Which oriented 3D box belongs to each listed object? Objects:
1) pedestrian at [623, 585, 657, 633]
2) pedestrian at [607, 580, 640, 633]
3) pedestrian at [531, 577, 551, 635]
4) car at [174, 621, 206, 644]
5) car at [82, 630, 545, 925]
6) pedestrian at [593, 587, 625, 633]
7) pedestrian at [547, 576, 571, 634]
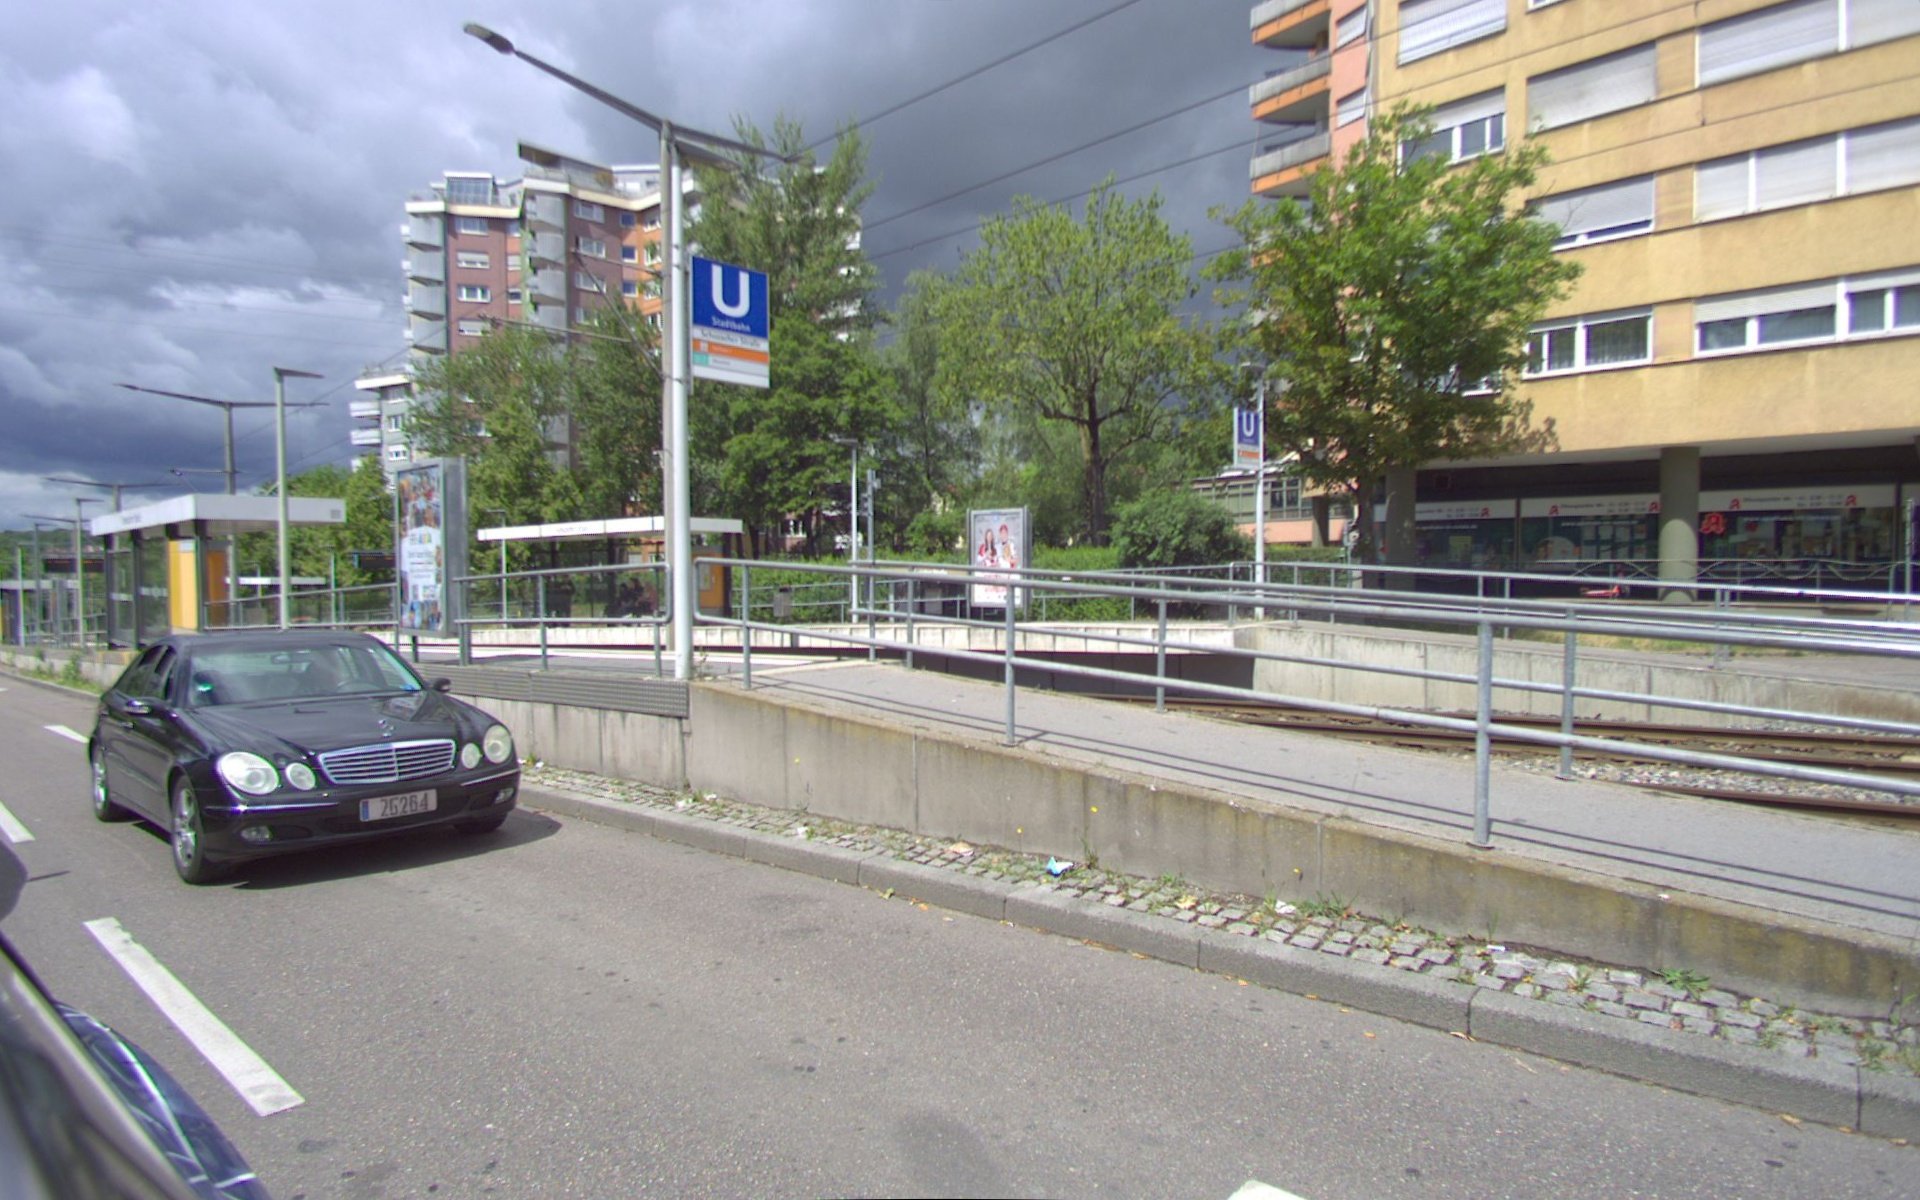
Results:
[{"bbox_3d":[-8.618,0.238,27.245,0.463,1.287,0.703,-2,-1,41],"label":"pedestrian"},{"bbox_3d":[-9.235,0.189,27.808,0.463,1.428,0.703,-2,-1,41],"label":"pedestrian"},{"bbox_3d":[-12.565,0.181,30.336,0.421,1.726,0.353,-1,-1,0],"label":"pedestrian"},{"bbox_3d":[-70.471,2.941,92.619,4.000,2.029,1.714,-2,-1,43],"label":"car"},{"bbox_3d":[-4.679,0.941,7.055,4.066,1.395,1.797,-2,-1,44],"label":"car"},{"bbox_3d":[-9.937,0.286,28.618,0.463,1.287,0.703,-2,-1,41],"label":"pedestrian"},{"bbox_3d":[-12.062,0.150,30.469,0.544,1.726,0.386,-1,-1,-2],"label":"pedestrian"}]
